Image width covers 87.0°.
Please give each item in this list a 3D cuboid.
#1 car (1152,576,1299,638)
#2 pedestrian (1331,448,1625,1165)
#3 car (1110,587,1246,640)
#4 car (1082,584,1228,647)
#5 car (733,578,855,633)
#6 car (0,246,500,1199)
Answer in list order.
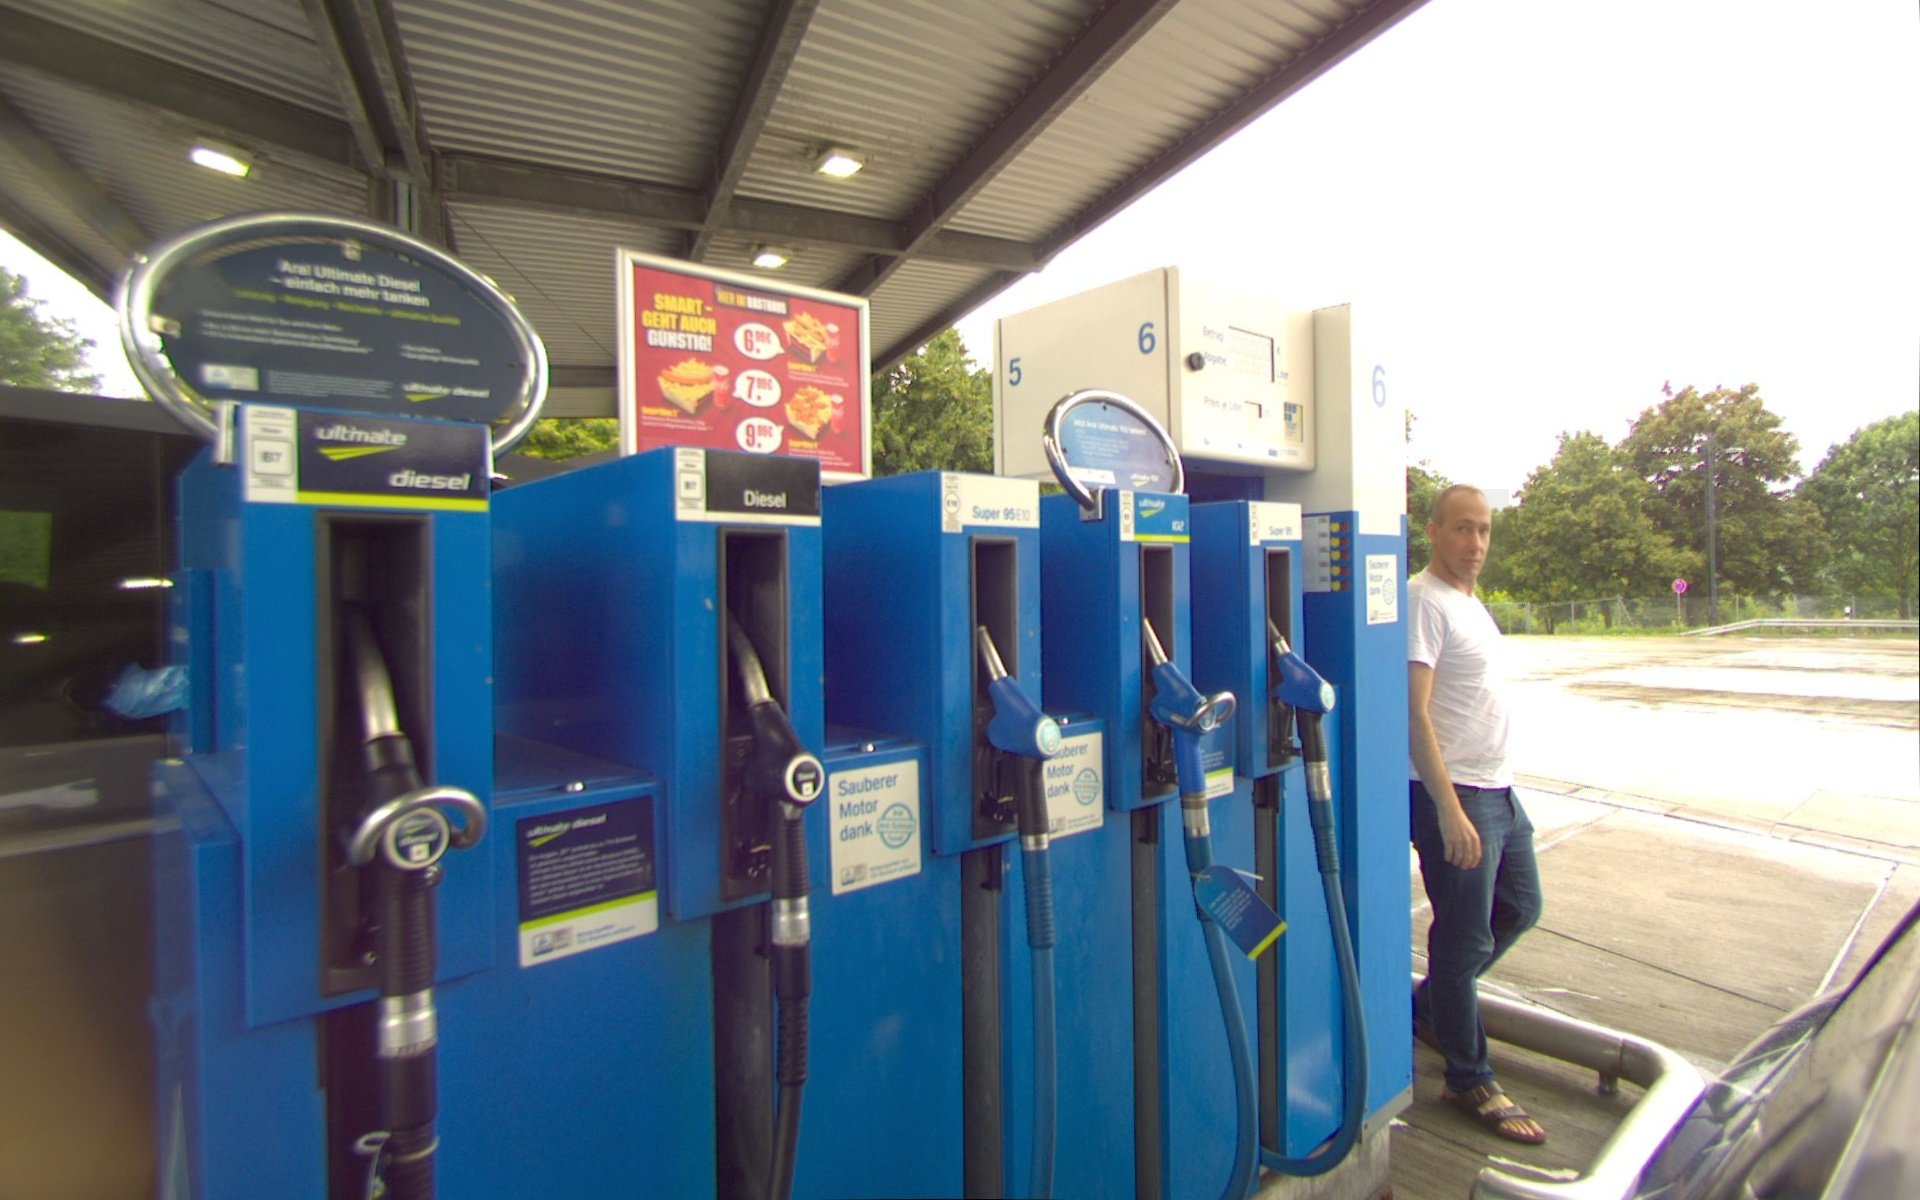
[{"bbox_3d":[8.935,0.204,34.341,4.700,2.011,2.007,0,0,14],"label":"car"},{"bbox_3d":[1.508,0.518,2.954,0.621,1.832,0.495,-2,1,-31],"label":"pedestrian"},{"bbox_3d":[6.989,0.397,32.280,4.123,1.576,1.990,1,0,17],"label":"car"},{"bbox_3d":[5.810,0.417,30.022,4.123,1.752,1.990,1,0,17],"label":"car"},{"bbox_3d":[-5.533,0.145,33.455,1.967,1.683,4.170,0,0,-44],"label":"car"},{"bbox_3d":[-3.021,0.418,1.487,3.930,1.973,1.819,0,0,-41],"label":"car"}]
